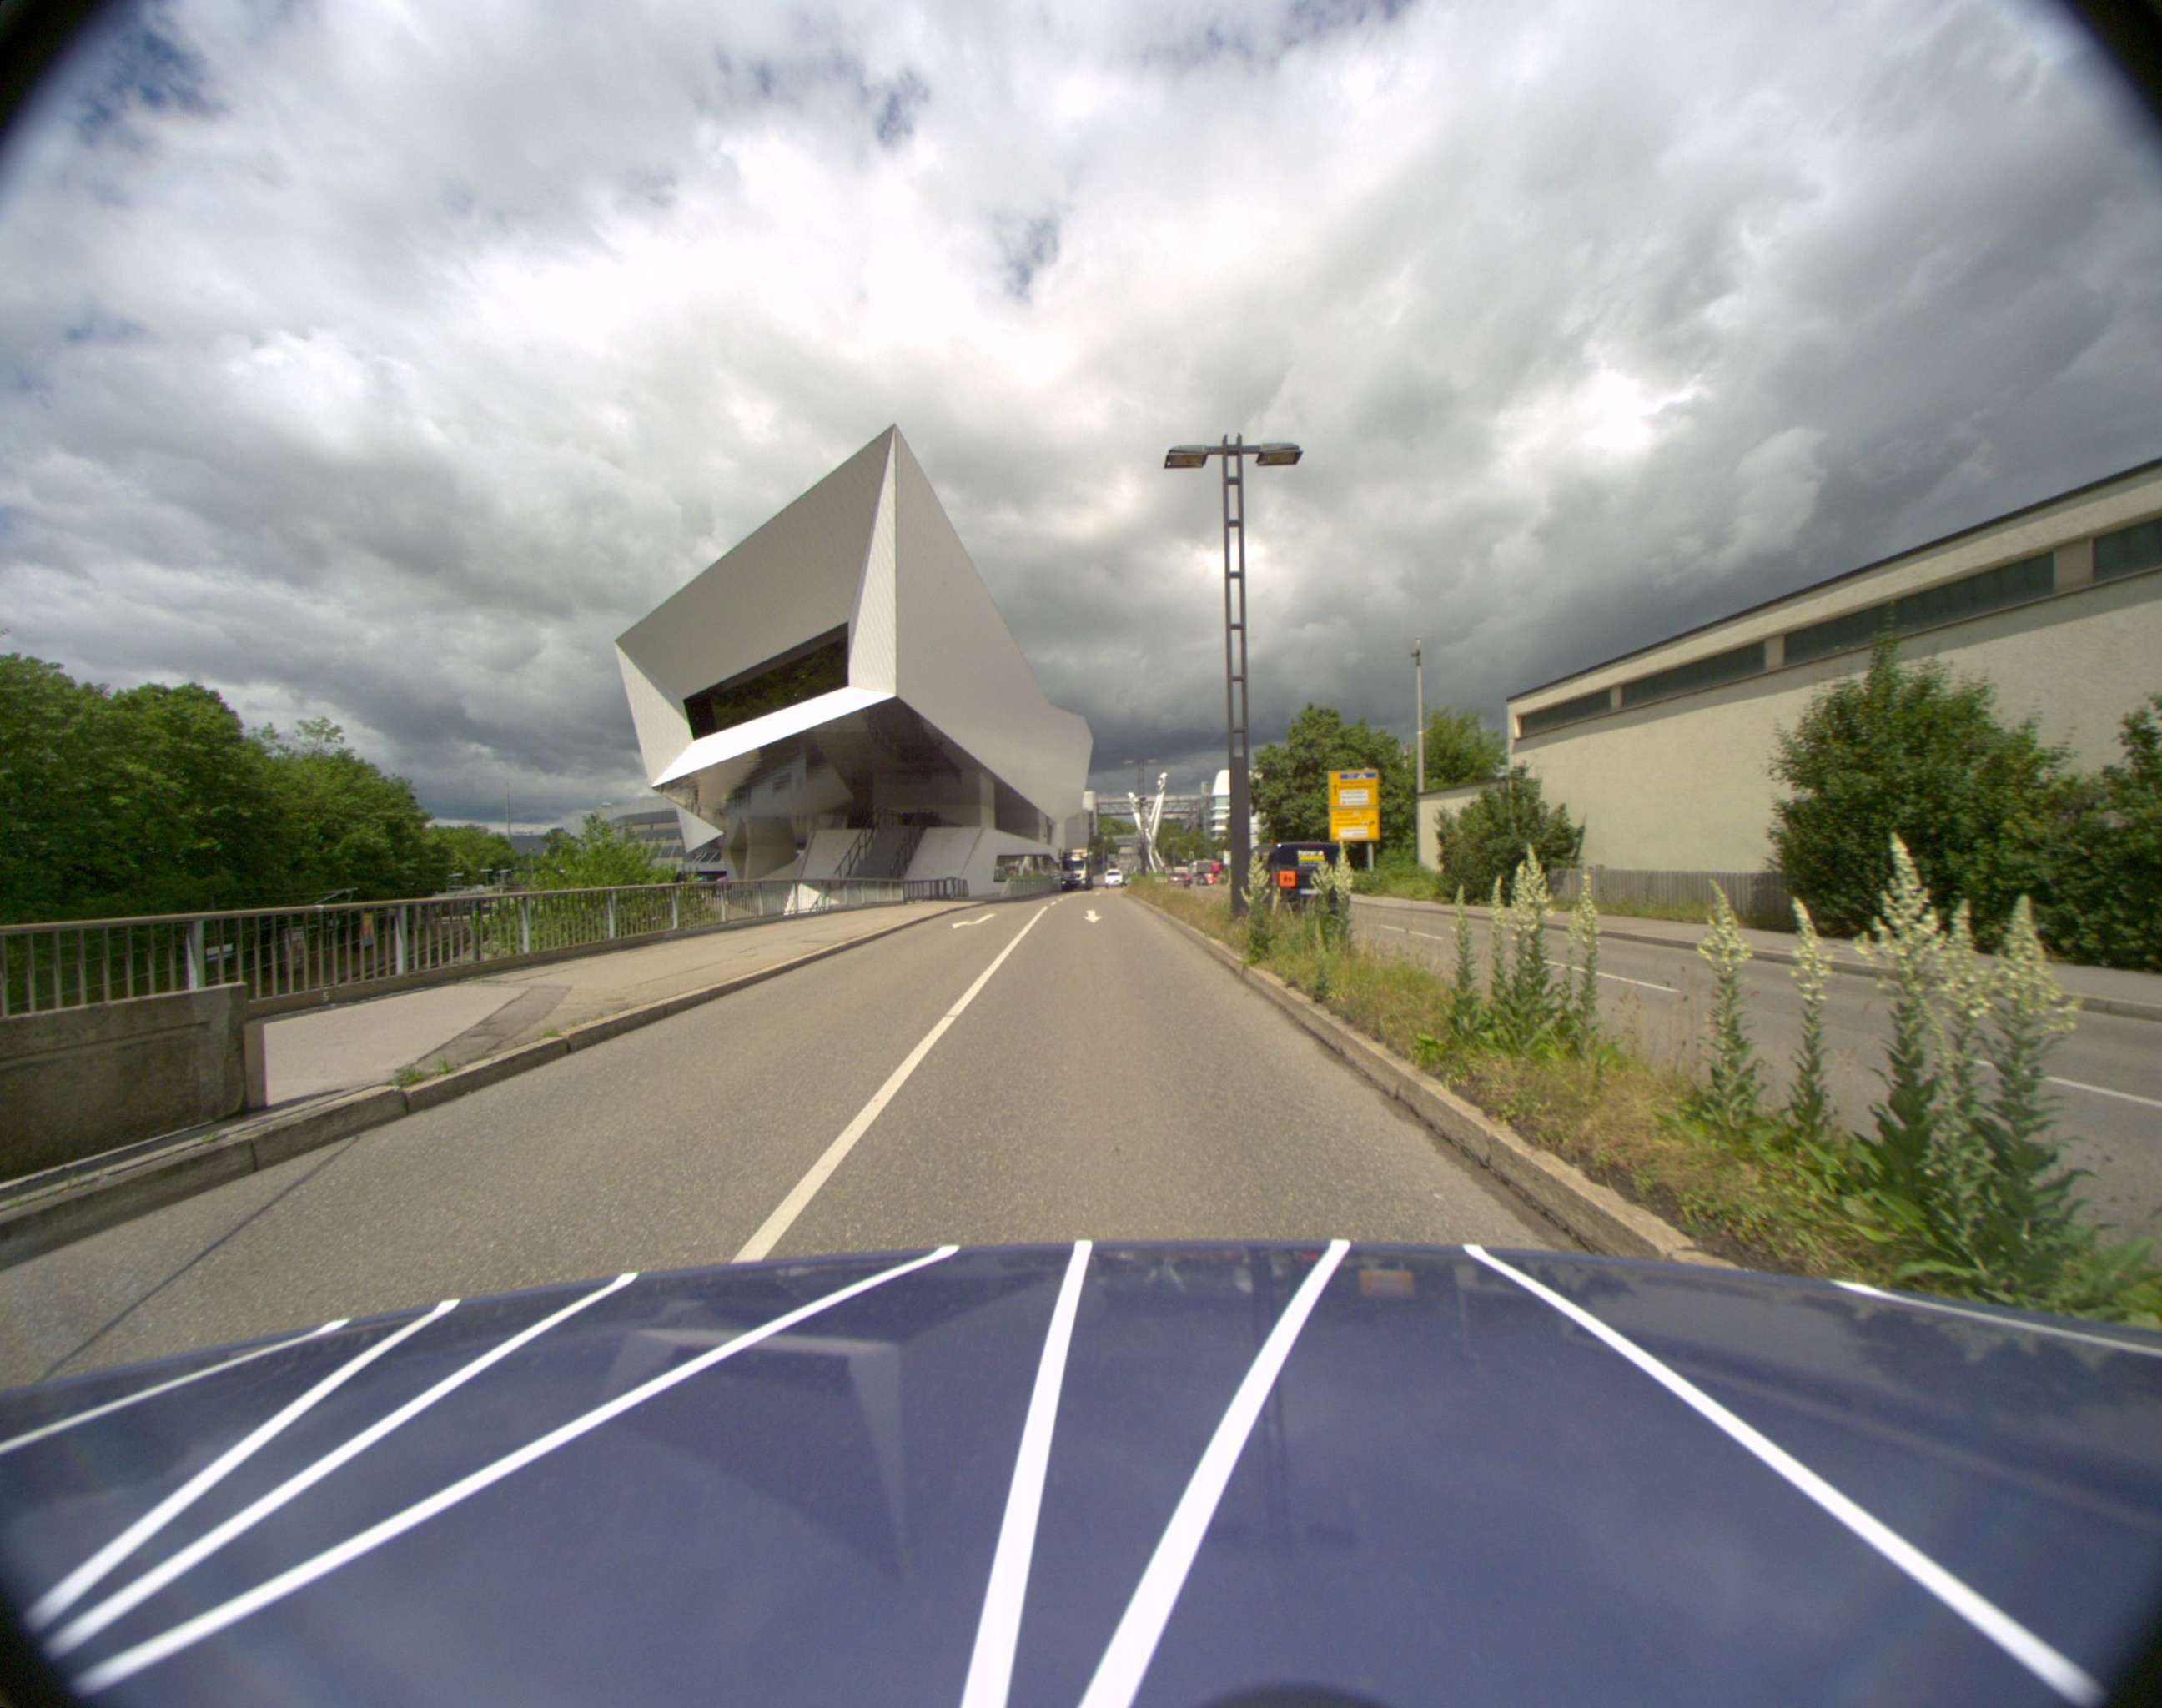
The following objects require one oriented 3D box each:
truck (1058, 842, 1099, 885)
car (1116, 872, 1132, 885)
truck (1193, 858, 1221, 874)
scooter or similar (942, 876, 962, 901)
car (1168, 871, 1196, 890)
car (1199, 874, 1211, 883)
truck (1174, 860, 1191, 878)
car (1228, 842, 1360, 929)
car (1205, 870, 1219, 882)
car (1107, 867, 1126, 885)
[{"bbox_3d":[-0.120,0.957,72.690,2.842,3.668,10.760,-1,-1,5],"label":"truck"},{"bbox_3d":[5.770,3.277,101.753,1.817,1.662,4.246,-1,0,7],"label":"car"},{"bbox_3d":[32.656,3.159,196.795,2.364,3.545,8.974,-2,-2,-24],"label":"truck"},{"bbox_3d":[-6.558,1.754,38.623,0.655,1.206,1.858,-1,-1,1],"label":"scooter or similar"},{"bbox_3d":[8.701,2.271,65.870,1.882,1.617,4.445,0,-1,1],"label":"car"},{"bbox_3d":[20.389,4.030,124.753,1.843,1.498,4.565,-1,-2,8],"label":"car"},{"bbox_3d":[18.643,2.755,139.584,2.861,2.839,9.388,-2,-3,9],"label":"truck"},{"bbox_3d":[5.190,0.722,19.256,1.998,1.877,4.869,-1,0,1],"label":"car"},{"bbox_3d":[24.334,4.087,141.343,1.996,1.946,4.635,-2,-1,17],"label":"car"},{"bbox_3d":[3.994,2.410,83.999,1.986,1.702,4.762,-2,0,3],"label":"car"}]
